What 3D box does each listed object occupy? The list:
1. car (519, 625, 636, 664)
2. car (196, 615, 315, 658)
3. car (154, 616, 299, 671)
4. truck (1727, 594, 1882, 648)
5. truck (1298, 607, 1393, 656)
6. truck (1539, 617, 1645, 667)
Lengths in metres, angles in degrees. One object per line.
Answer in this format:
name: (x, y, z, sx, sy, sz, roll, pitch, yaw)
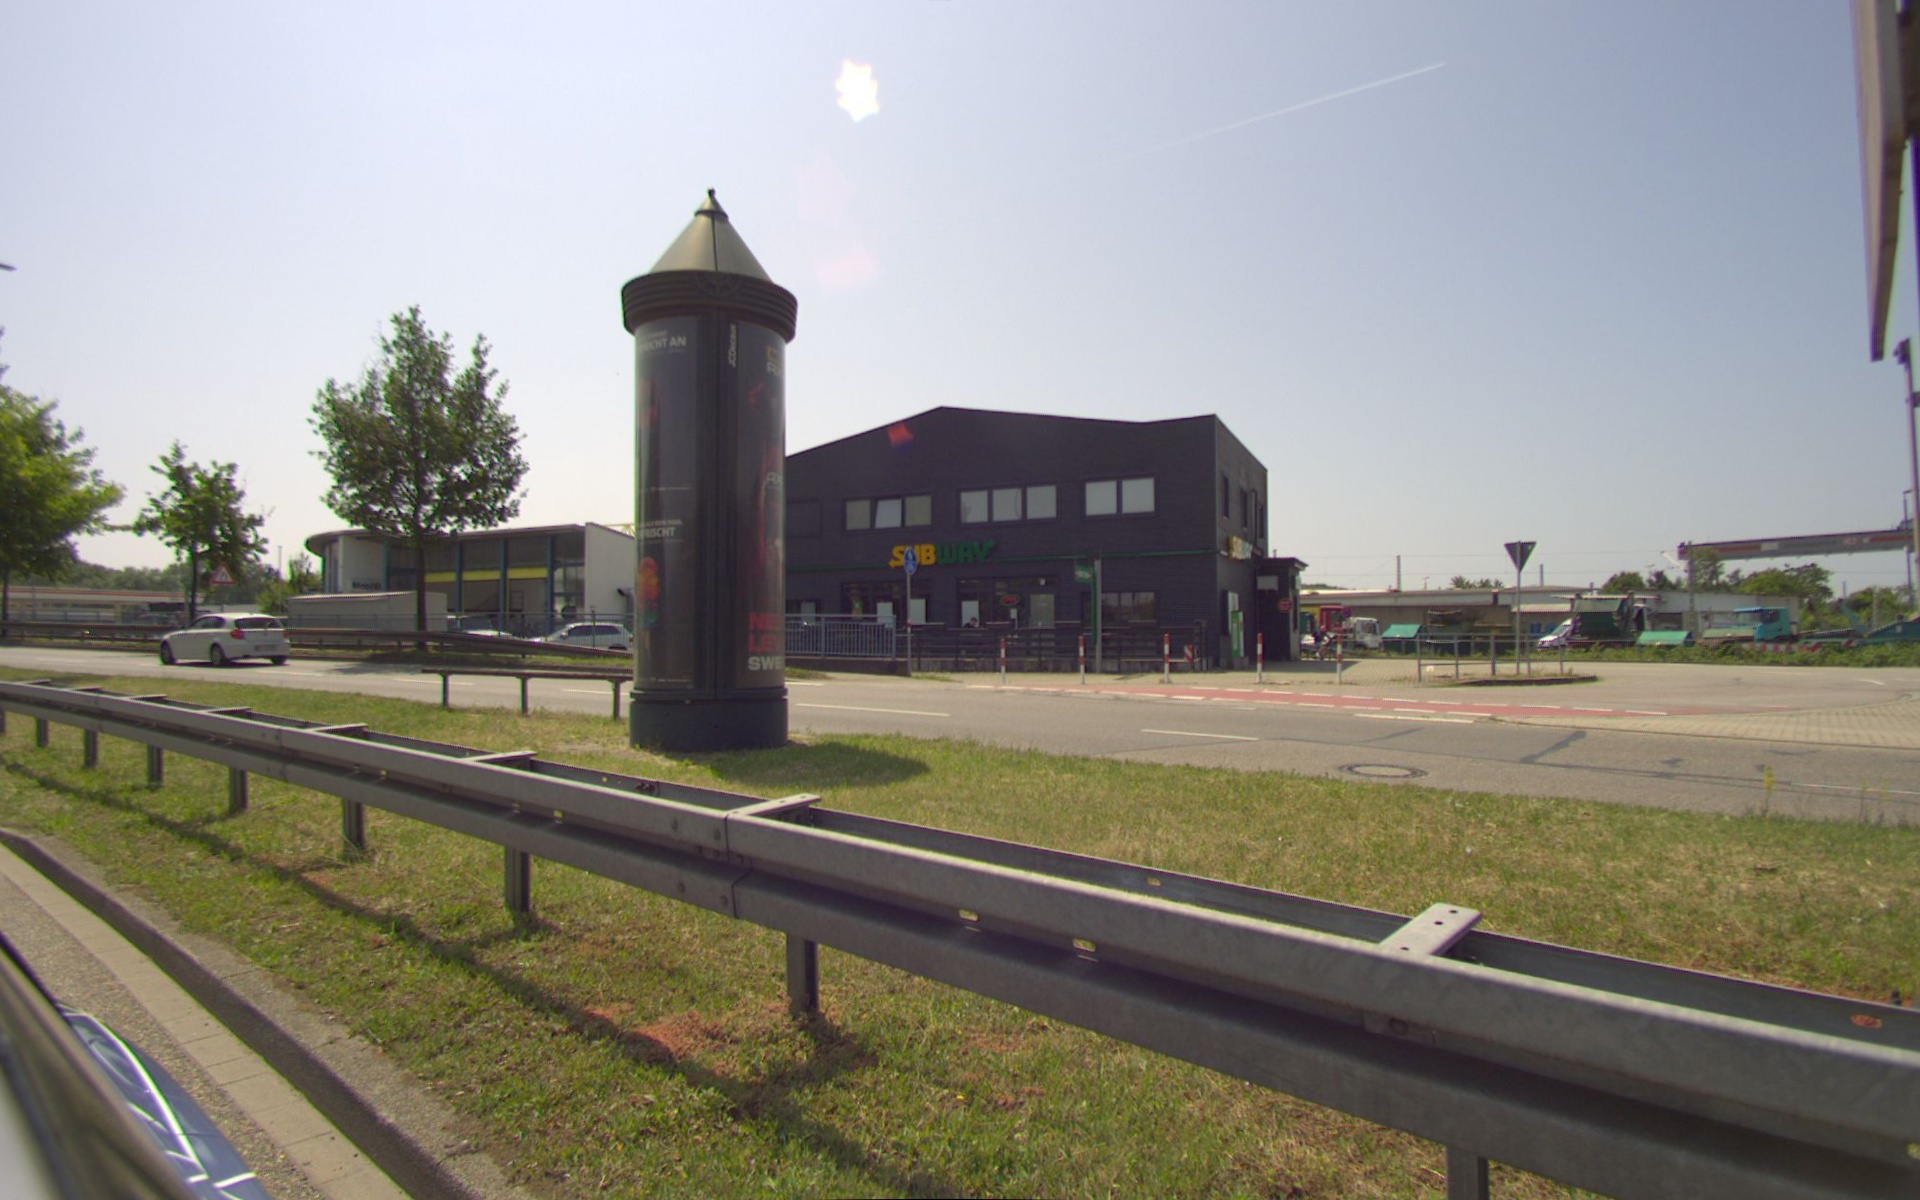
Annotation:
car: (-14.639, 1.681, 38.795, 3.932, 1.390, 1.664, 1, -1, -33)
car: (-28.298, 1.472, 40.632, 4.616, 1.581, 1.886, 0, -3, 27)
car: (-20.415, 1.180, 28.134, 4.199, 1.390, 1.643, -1, 0, 29)
truck: (50.941, 1.292, 61.207, 6.765, 2.950, 2.860, 2, -3, 3)
truck: (24.910, 2.048, 65.594, 5.398, 2.981, 1.995, 1, -3, 9)
truck: (40.548, 2.707, 65.058, 5.398, 2.981, 1.995, 1, -3, 9)
